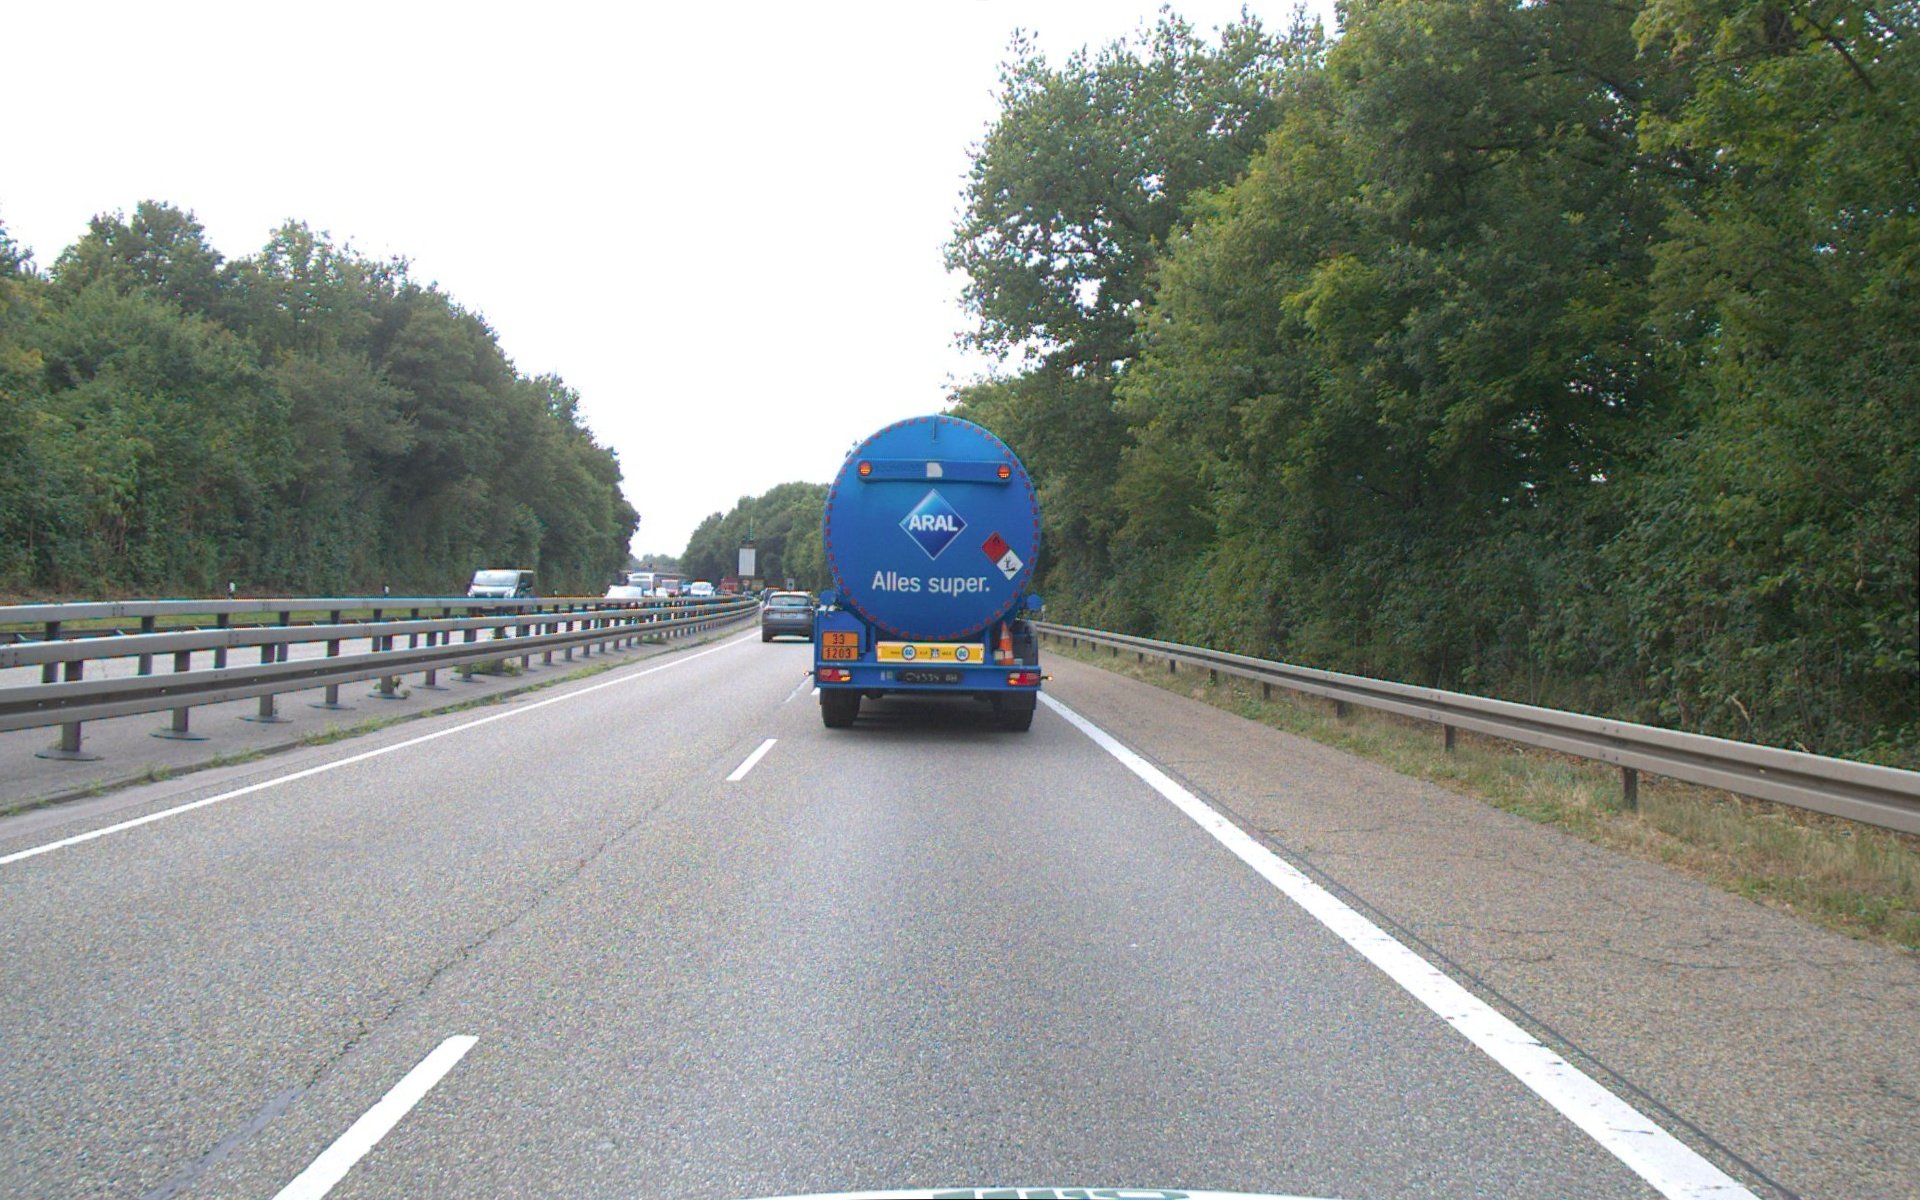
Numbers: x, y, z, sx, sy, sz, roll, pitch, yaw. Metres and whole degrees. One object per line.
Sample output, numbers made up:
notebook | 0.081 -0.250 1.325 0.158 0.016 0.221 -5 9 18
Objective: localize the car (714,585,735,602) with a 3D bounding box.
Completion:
car | -22.677 -0.600 159.474 1.747 1.590 4.011 0 0 -5

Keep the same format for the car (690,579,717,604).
car | -21.459 -0.725 138.339 1.786 2.018 5.053 0 0 -4

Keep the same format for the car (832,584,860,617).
car | -8.262 0.047 120.007 1.953 2.284 3.998 0 0 -3

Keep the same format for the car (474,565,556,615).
car | -17.329 -0.360 64.599 1.994 1.835 5.120 0 0 -2

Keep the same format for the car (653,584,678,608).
car | -29.299 -0.389 164.644 2.026 2.295 5.369 0 0 -5

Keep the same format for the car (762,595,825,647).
car | -5.451 0.676 54.458 1.789 1.638 4.165 0 0 -2

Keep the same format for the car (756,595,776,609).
car | -21.864 0.257 186.220 1.958 1.579 3.990 0 0 -11

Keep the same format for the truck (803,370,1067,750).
truck | -0.281 -0.415 20.933 2.699 3.914 7.687 0 0 0

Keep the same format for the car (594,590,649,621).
car | -14.840 0.259 72.739 1.622 1.300 4.711 1 0 -2

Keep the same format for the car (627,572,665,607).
car | -24.490 -0.752 129.106 2.266 2.656 5.548 0 0 -4

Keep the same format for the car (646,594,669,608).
car | -27.588 0.094 150.947 1.740 1.319 4.103 0 0 -5
